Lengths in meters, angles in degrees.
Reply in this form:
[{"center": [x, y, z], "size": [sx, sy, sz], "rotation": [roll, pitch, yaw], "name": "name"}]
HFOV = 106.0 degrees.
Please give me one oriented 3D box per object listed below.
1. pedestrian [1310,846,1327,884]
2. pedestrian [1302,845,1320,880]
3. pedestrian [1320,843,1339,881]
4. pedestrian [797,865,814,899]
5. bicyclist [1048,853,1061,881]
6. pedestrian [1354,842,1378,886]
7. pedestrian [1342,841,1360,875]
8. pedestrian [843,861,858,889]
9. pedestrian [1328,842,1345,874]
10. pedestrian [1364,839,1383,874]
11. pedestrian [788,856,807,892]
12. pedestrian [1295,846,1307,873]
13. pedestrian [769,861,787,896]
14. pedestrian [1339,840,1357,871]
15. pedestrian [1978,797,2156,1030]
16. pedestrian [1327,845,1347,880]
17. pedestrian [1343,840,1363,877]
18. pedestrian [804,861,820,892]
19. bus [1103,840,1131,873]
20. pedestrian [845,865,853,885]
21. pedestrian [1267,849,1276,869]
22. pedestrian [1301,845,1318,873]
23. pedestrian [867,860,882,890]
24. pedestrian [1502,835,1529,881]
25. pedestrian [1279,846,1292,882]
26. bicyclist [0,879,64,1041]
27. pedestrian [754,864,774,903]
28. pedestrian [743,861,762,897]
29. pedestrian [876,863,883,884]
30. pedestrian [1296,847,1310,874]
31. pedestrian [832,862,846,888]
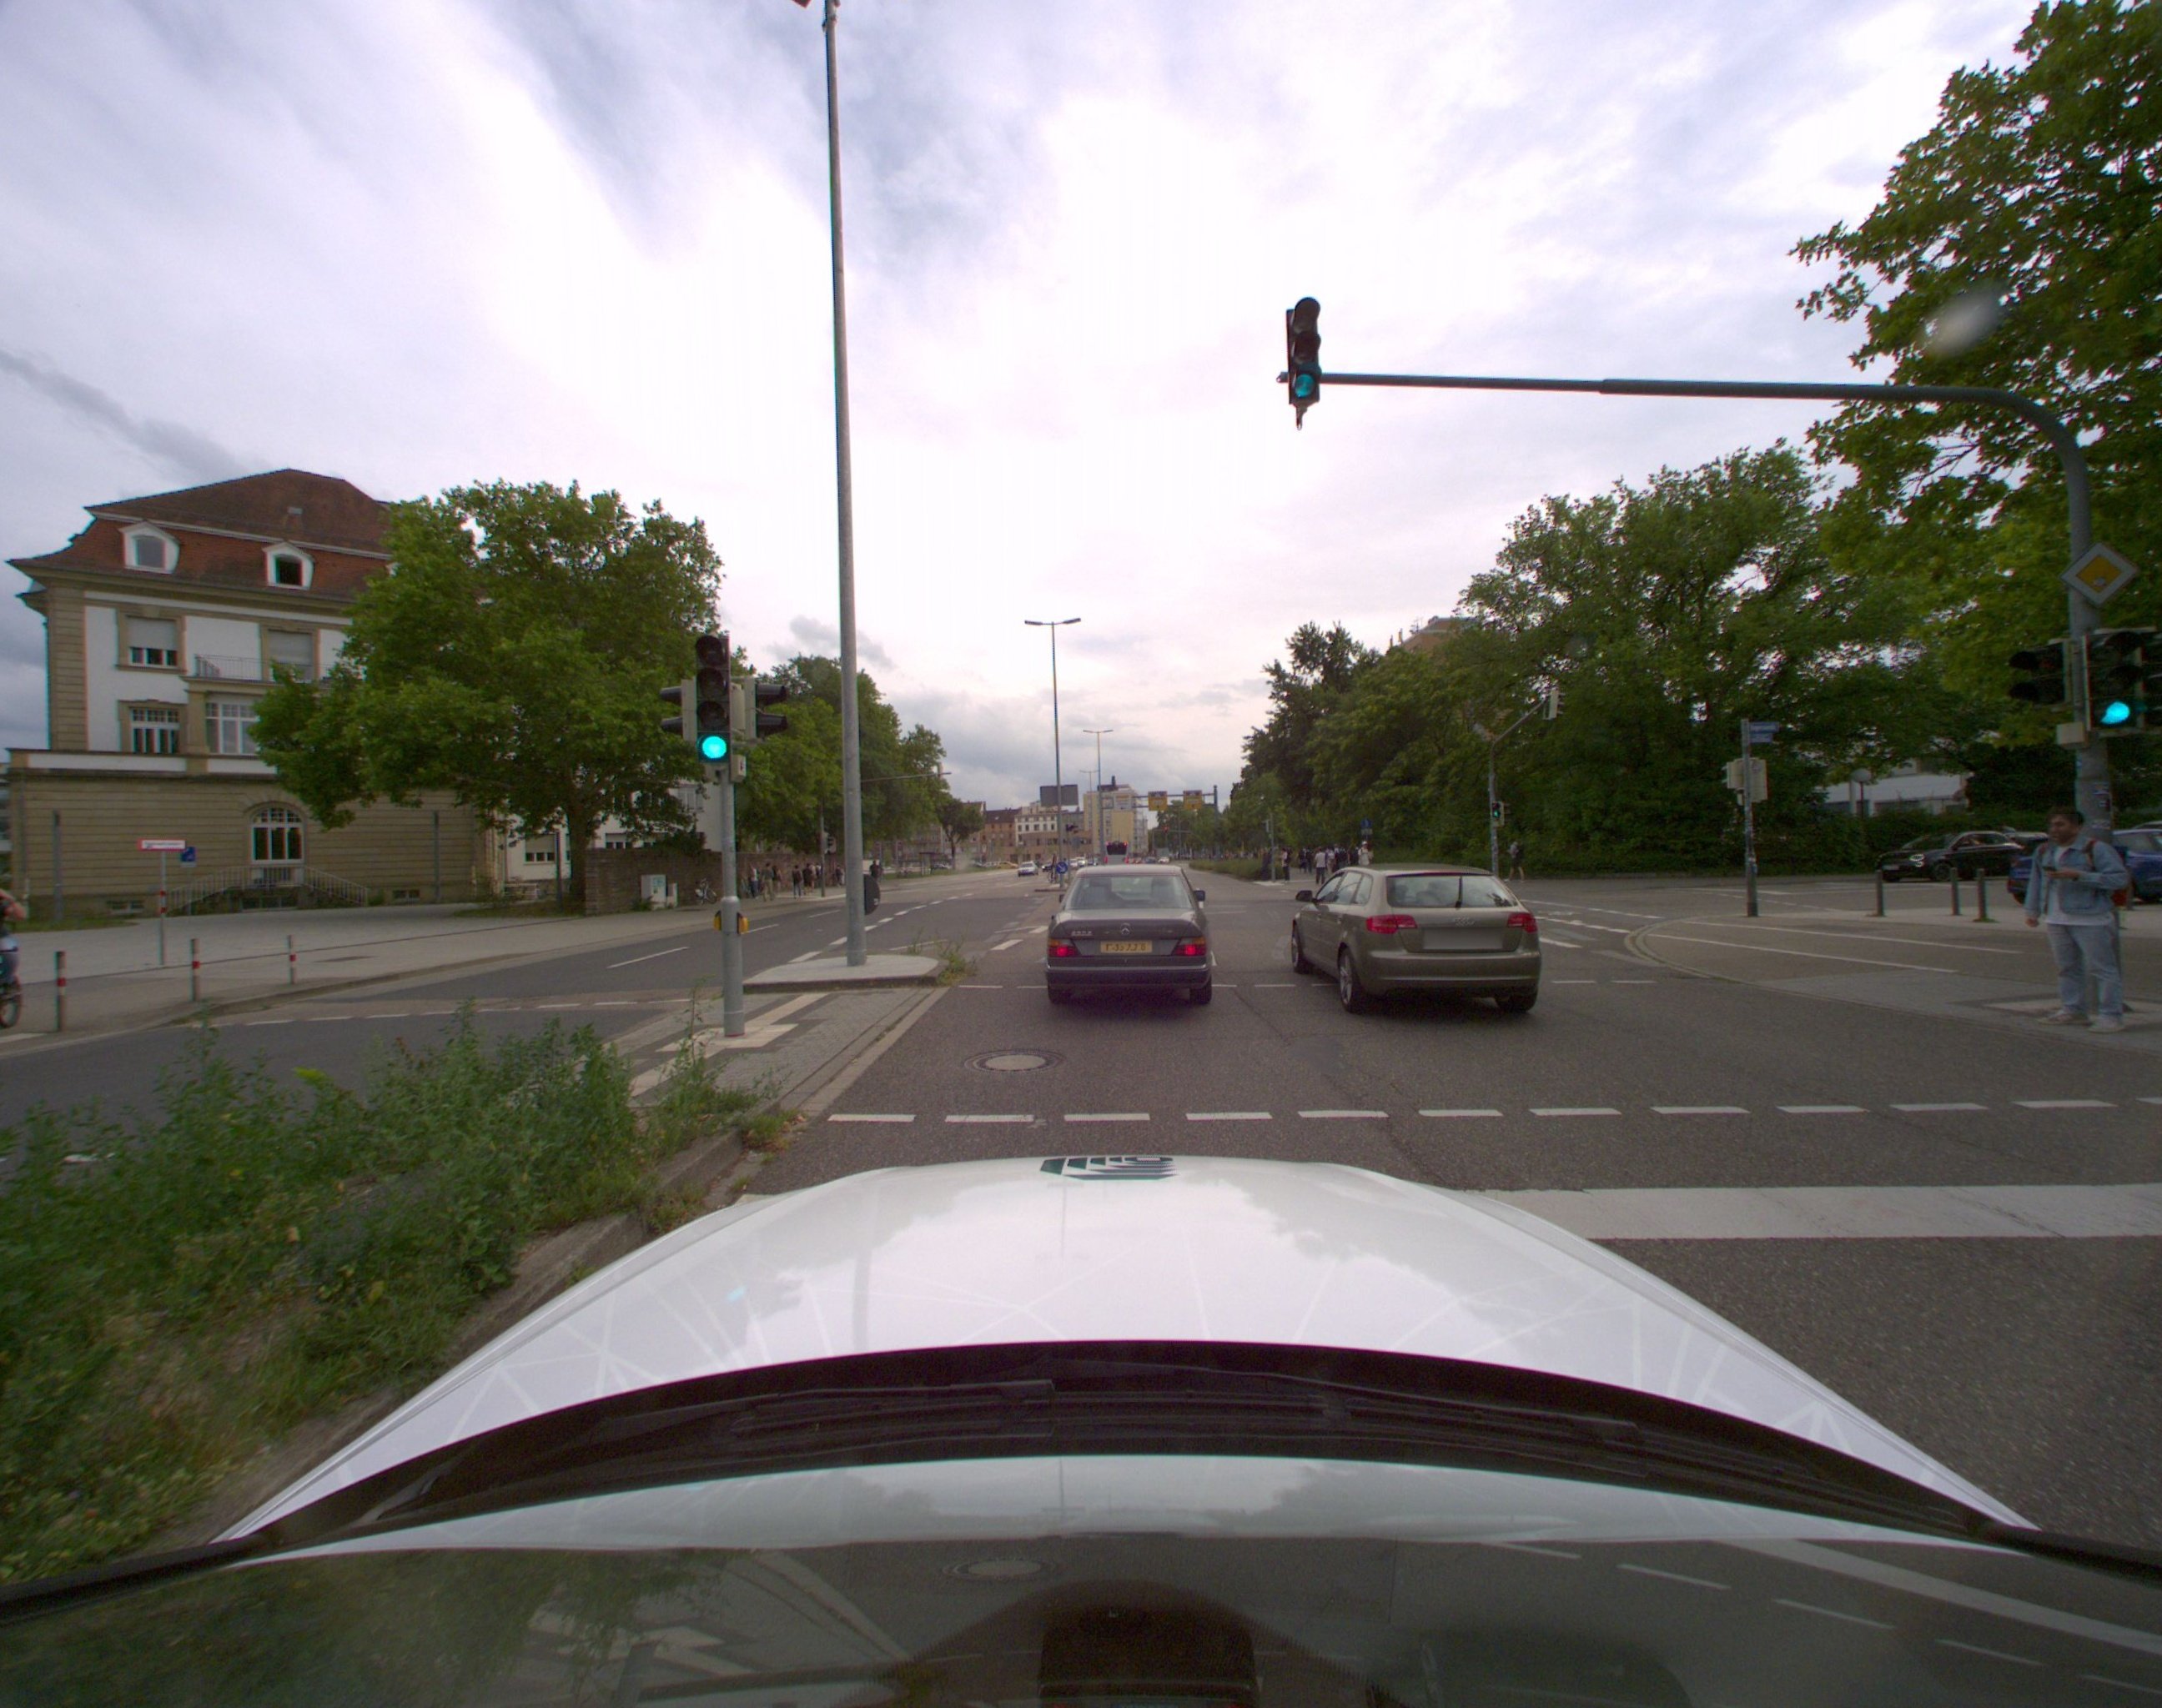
[{"center": [10.480, 0.483, 35.946], "size": [0.543, 1.687, 0.637], "rotation": [-2, -1, 2], "name": "pedestrian"}, {"center": [11.591, 0.421, 41.069], "size": [0.654, 1.745, 0.780], "rotation": [-2, -1, 2], "name": "pedestrian"}, {"center": [11.939, 0.381, 39.185], "size": [0.622, 1.745, 0.780], "rotation": [-2, -1, 2], "name": "pedestrian"}, {"center": [-14.742, 1.512, 43.643], "size": [0.762, 1.782, 0.777], "rotation": [-1, -2, -25], "name": "pedestrian"}, {"center": [-1.512, 0.751, 47.183], "size": [0.569, 1.574, 0.701], "rotation": [-2, -1, 8], "name": "bicyclist"}, {"center": [12.074, 0.421, 34.513], "size": [0.645, 1.852, 0.826], "rotation": [-1, -1, -10], "name": "pedestrian"}, {"center": [14.183, 0.214, 42.740], "size": [0.654, 1.699, 0.780], "rotation": [-2, -1, 2], "name": "pedestrian"}, {"center": [-15.277, 1.386, 53.951], "size": [0.762, 1.782, 0.916], "rotation": [-1, -2, -24], "name": "pedestrian"}, {"center": [13.882, 0.205, 44.240], "size": [0.654, 1.689, 0.842], "rotation": [-2, -1, 2], "name": "pedestrian"}, {"center": [14.968, 0.114, 41.640], "size": [0.654, 1.745, 0.780], "rotation": [-2, -1, 2], "name": "pedestrian"}, {"center": [-14.324, 1.025, 41.144], "size": [0.762, 1.782, 0.777], "rotation": [-1, -2, -26], "name": "pedestrian"}, {"center": [13.624, 0.321, 50.467], "size": [0.553, 1.655, 0.754], "rotation": [-2, -1, 5], "name": "pedestrian"}, {"center": [-15.457, 1.254, 41.572], "size": [0.763, 1.782, 0.777], "rotation": [-1, -2, -28], "name": "pedestrian"}, {"center": [14.800, 0.087, 45.196], "size": [0.654, 1.667, 0.972], "rotation": [-2, -1, 2], "name": "pedestrian"}, {"center": [8.116, 0.472, 6.737], "size": [0.570, 1.817, 0.682], "rotation": [-2, -1, 4], "name": "pedestrian"}, {"center": [13.472, 0.432, 42.801], "size": [0.654, 1.766, 0.958], "rotation": [-4, -1, 2], "name": "pedestrian"}, {"center": [13.052, 0.199, 39.126], "size": [0.654, 1.745, 0.780], "rotation": [-2, -1, 2], "name": "pedestrian"}, {"center": [-15.728, 1.320, 47.581], "size": [0.762, 1.782, 0.907], "rotation": [-1, -2, -24], "name": "pedestrian"}, {"center": [4.086, 0.280, 91.861], "size": [2.820, 3.390, 8.188], "rotation": [-2, 0, 3], "name": "bus"}, {"center": [-18.452, 1.673, 64.705], "size": [0.588, 1.592, 0.731], "rotation": [-1, -2, -18], "name": "pedestrian"}, {"center": [16.099, 0.412, 68.923], "size": [0.584, 1.683, 0.749], "rotation": [-2, -1, 5], "name": "pedestrian"}, {"center": [13.519, 0.310, 48.278], "size": [0.772, 1.602, 0.813], "rotation": [-2, -1, 4], "name": "pedestrian"}, {"center": [-12.318, 1.260, 48.648], "size": [0.761, 1.782, 0.717], "rotation": [-1, -2, -20], "name": "pedestrian"}, {"center": [17.106, 0.152, 32.075], "size": [0.642, 1.795, 0.740], "rotation": [-2, -1, 2], "name": "pedestrian"}, {"center": [10.043, 0.470, 40.050], "size": [0.452, 1.735, 0.637], "rotation": [-2, -1, 2], "name": "pedestrian"}, {"center": [-12.379, 1.201, 9.366], "size": [0.600, 1.807, 0.559], "rotation": [0, -1, -13], "name": "bicyclist"}, {"center": [-14.801, 1.390, 38.017], "size": [0.749, 1.782, 0.776], "rotation": [-1, -2, -29], "name": "pedestrian"}, {"center": [-16.282, 1.237, 40.359], "size": [0.749, 1.782, 0.776], "rotation": [-1, -3, -31], "name": "pedestrian"}, {"center": [-16.762, 1.639, 67.788], "size": [0.560, 1.668, 0.624], "rotation": [-1, -2, -12], "name": "pedestrian"}, {"center": [14.162, 0.419, 51.930], "size": [0.616, 1.735, 0.815], "rotation": [-2, -1, 5], "name": "pedestrian"}, {"center": [-16.680, 1.448, 56.089], "size": [0.762, 1.782, 0.777], "rotation": [-1, -2, -25], "name": "pedestrian"}]
